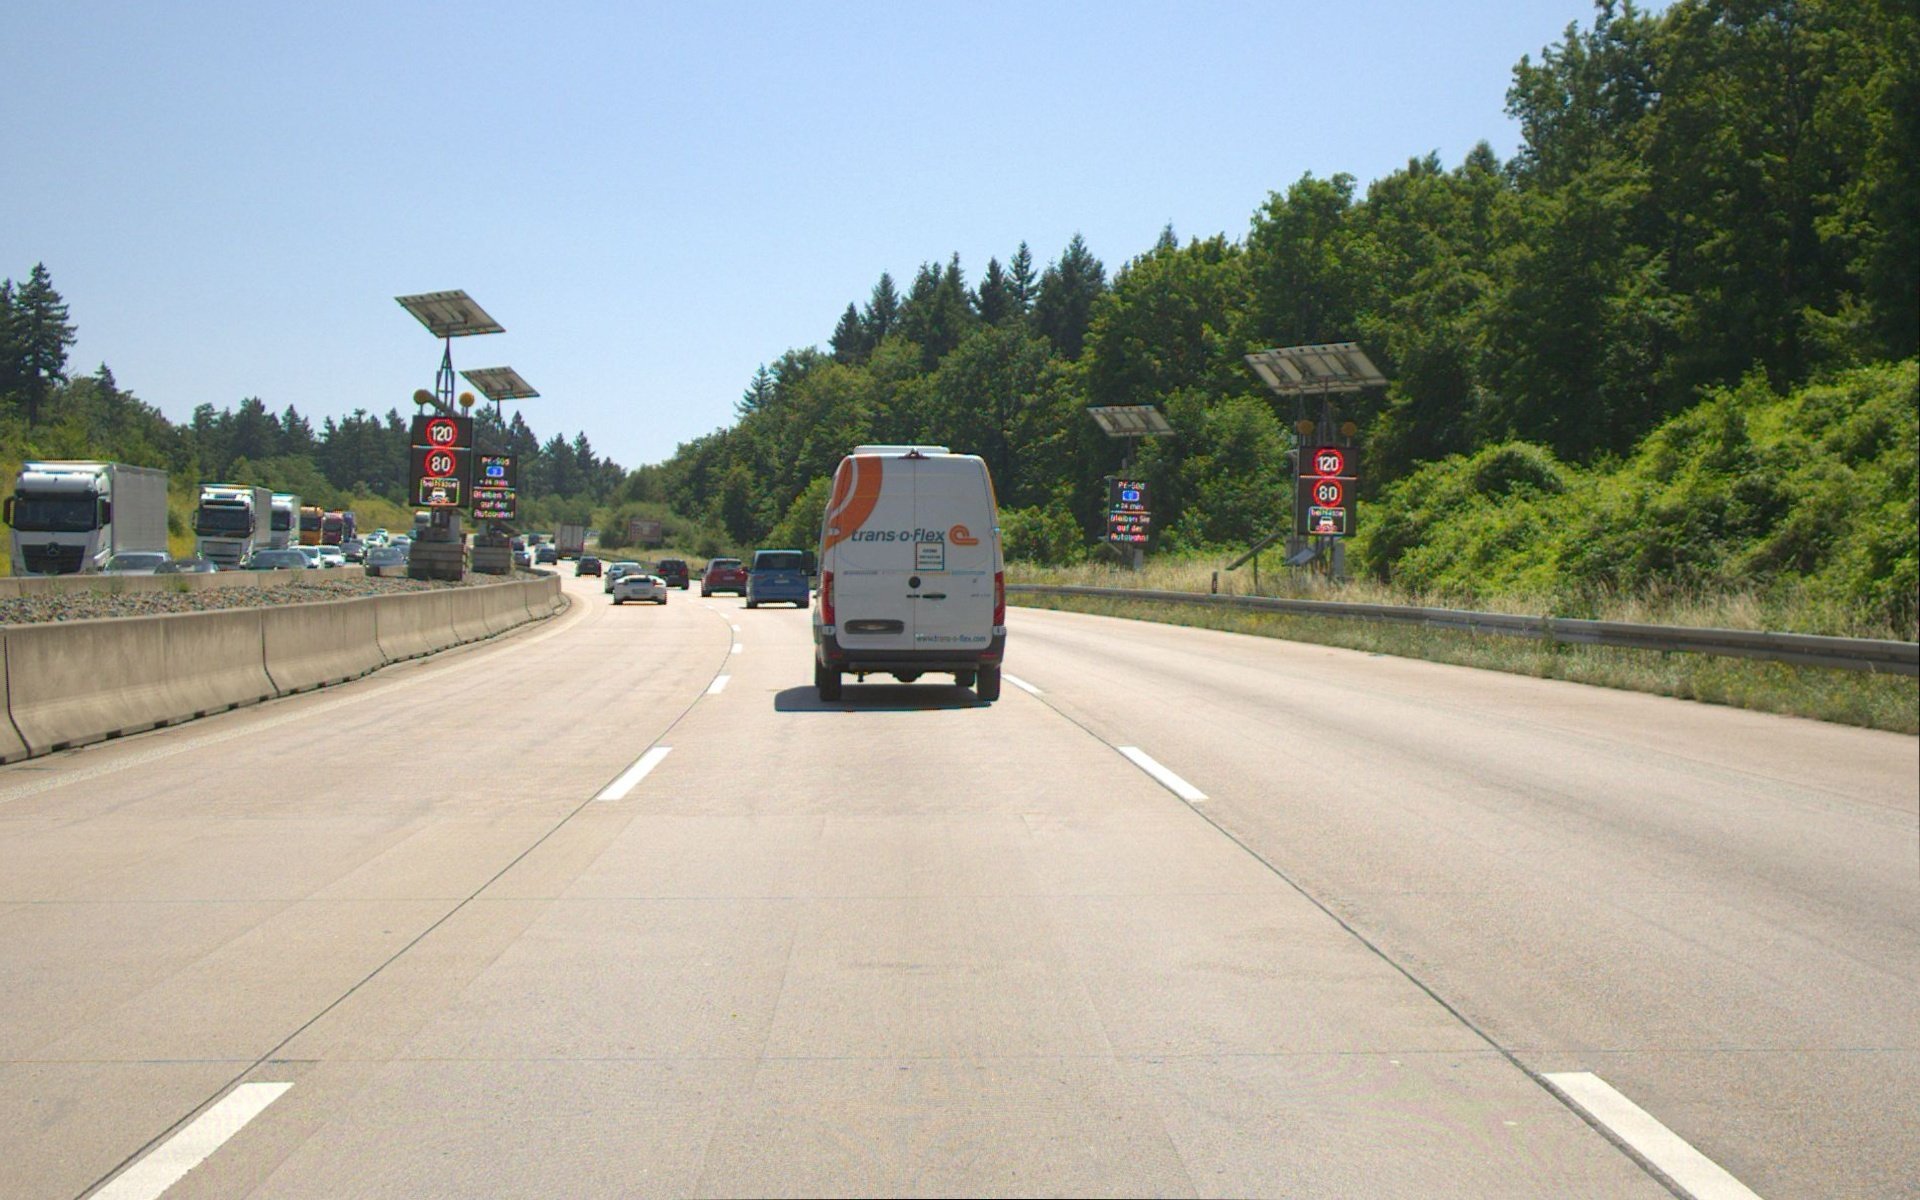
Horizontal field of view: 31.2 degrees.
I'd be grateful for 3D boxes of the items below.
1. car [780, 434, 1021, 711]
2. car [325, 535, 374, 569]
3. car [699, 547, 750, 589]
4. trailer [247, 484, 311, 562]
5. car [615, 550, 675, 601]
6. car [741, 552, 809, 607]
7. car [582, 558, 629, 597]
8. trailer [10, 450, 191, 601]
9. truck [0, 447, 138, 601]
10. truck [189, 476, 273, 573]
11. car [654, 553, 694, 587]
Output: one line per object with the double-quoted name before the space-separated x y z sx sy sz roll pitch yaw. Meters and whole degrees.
"car" -0.755 -0.337 38.205 2.226 2.834 5.455 1 1 -5
"car" -30.124 -2.357 169.813 1.993 1.678 4.001 0 1 -4
"car" -10.043 -1.356 146.345 1.993 1.678 4.001 3 0 -5
"trailer" -38.642 -4.330 195.181 2.933 4.154 6.892 3 0 -8
"car" -11.070 -0.849 120.938 1.993 1.678 4.001 3 0 -5
"car" -6.040 -0.680 112.030 1.993 1.678 4.001 3 0 -5
"car" -16.356 -1.040 158.740 1.993 1.678 4.001 3 0 -5
"trailer" -26.101 -2.180 105.173 2.933 4.154 14.390 3 0 -5
"truck" -25.502 -2.125 98.126 2.933 4.154 5.761 3 0 -5
"truck" -32.960 -3.378 155.568 2.933 4.154 6.230 3 0 -6
"car" -15.201 -1.589 182.659 1.993 1.678 4.001 3 0 -5
